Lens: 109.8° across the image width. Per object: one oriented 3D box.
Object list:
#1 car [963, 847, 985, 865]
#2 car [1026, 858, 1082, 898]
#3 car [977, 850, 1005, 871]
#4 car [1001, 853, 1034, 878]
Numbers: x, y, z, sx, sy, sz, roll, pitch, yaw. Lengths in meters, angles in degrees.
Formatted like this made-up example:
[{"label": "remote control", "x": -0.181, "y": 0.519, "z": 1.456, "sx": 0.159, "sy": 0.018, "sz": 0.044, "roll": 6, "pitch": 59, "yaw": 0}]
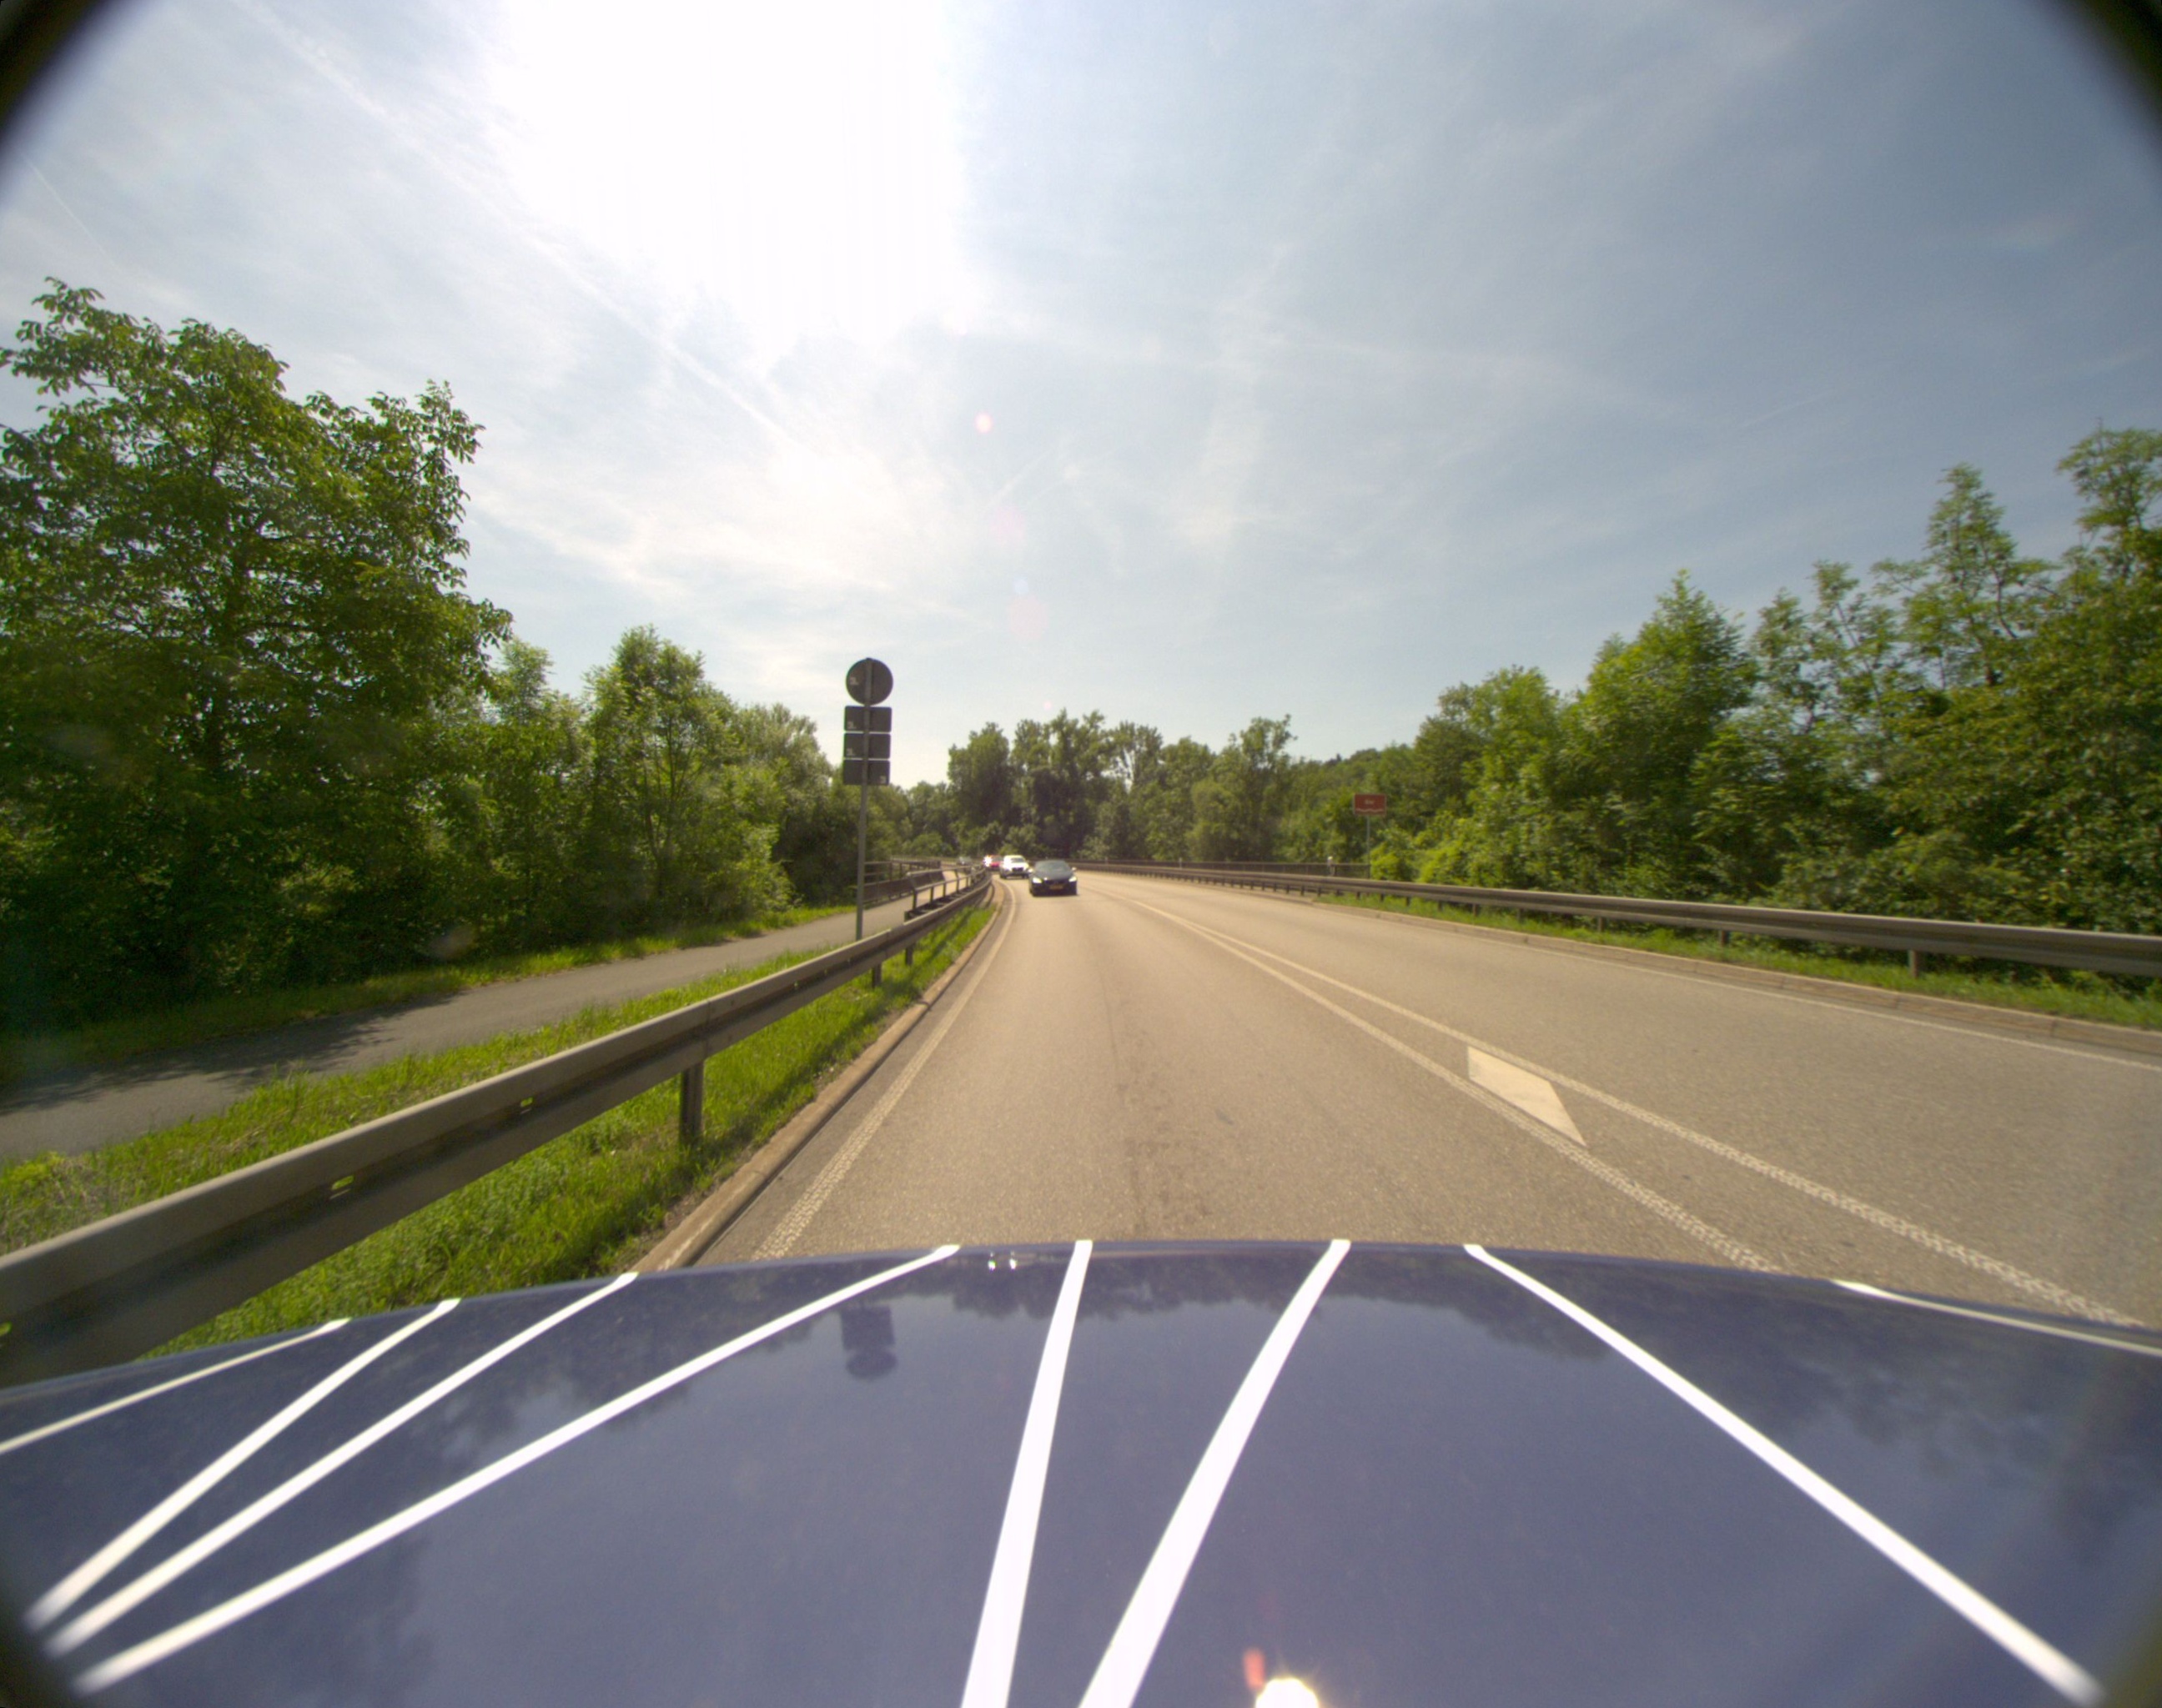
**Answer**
[{"label": "car", "x": -12.886, "y": 0.178, "z": 91.229, "sx": 2.001, "sy": 2.002, "sz": 3.993, "roll": -3, "pitch": 2, "yaw": -17}, {"label": "car", "x": -1.188, "y": 0.929, "z": 31.196, "sx": 1.910, "sy": 1.413, "sz": 3.948, "roll": -2, "pitch": 0, "yaw": -7}, {"label": "car", "x": -8.264, "y": 0.577, "z": 69.468, "sx": 2.001, "sy": 1.765, "sz": 3.995, "roll": -1, "pitch": 0, "yaw": -15}, {"label": "car", "x": -4.586, "y": 0.801, "z": 54.473, "sx": 1.911, "sy": 1.638, "sz": 3.947, "roll": -1, "pitch": 0, "yaw": -11}]
